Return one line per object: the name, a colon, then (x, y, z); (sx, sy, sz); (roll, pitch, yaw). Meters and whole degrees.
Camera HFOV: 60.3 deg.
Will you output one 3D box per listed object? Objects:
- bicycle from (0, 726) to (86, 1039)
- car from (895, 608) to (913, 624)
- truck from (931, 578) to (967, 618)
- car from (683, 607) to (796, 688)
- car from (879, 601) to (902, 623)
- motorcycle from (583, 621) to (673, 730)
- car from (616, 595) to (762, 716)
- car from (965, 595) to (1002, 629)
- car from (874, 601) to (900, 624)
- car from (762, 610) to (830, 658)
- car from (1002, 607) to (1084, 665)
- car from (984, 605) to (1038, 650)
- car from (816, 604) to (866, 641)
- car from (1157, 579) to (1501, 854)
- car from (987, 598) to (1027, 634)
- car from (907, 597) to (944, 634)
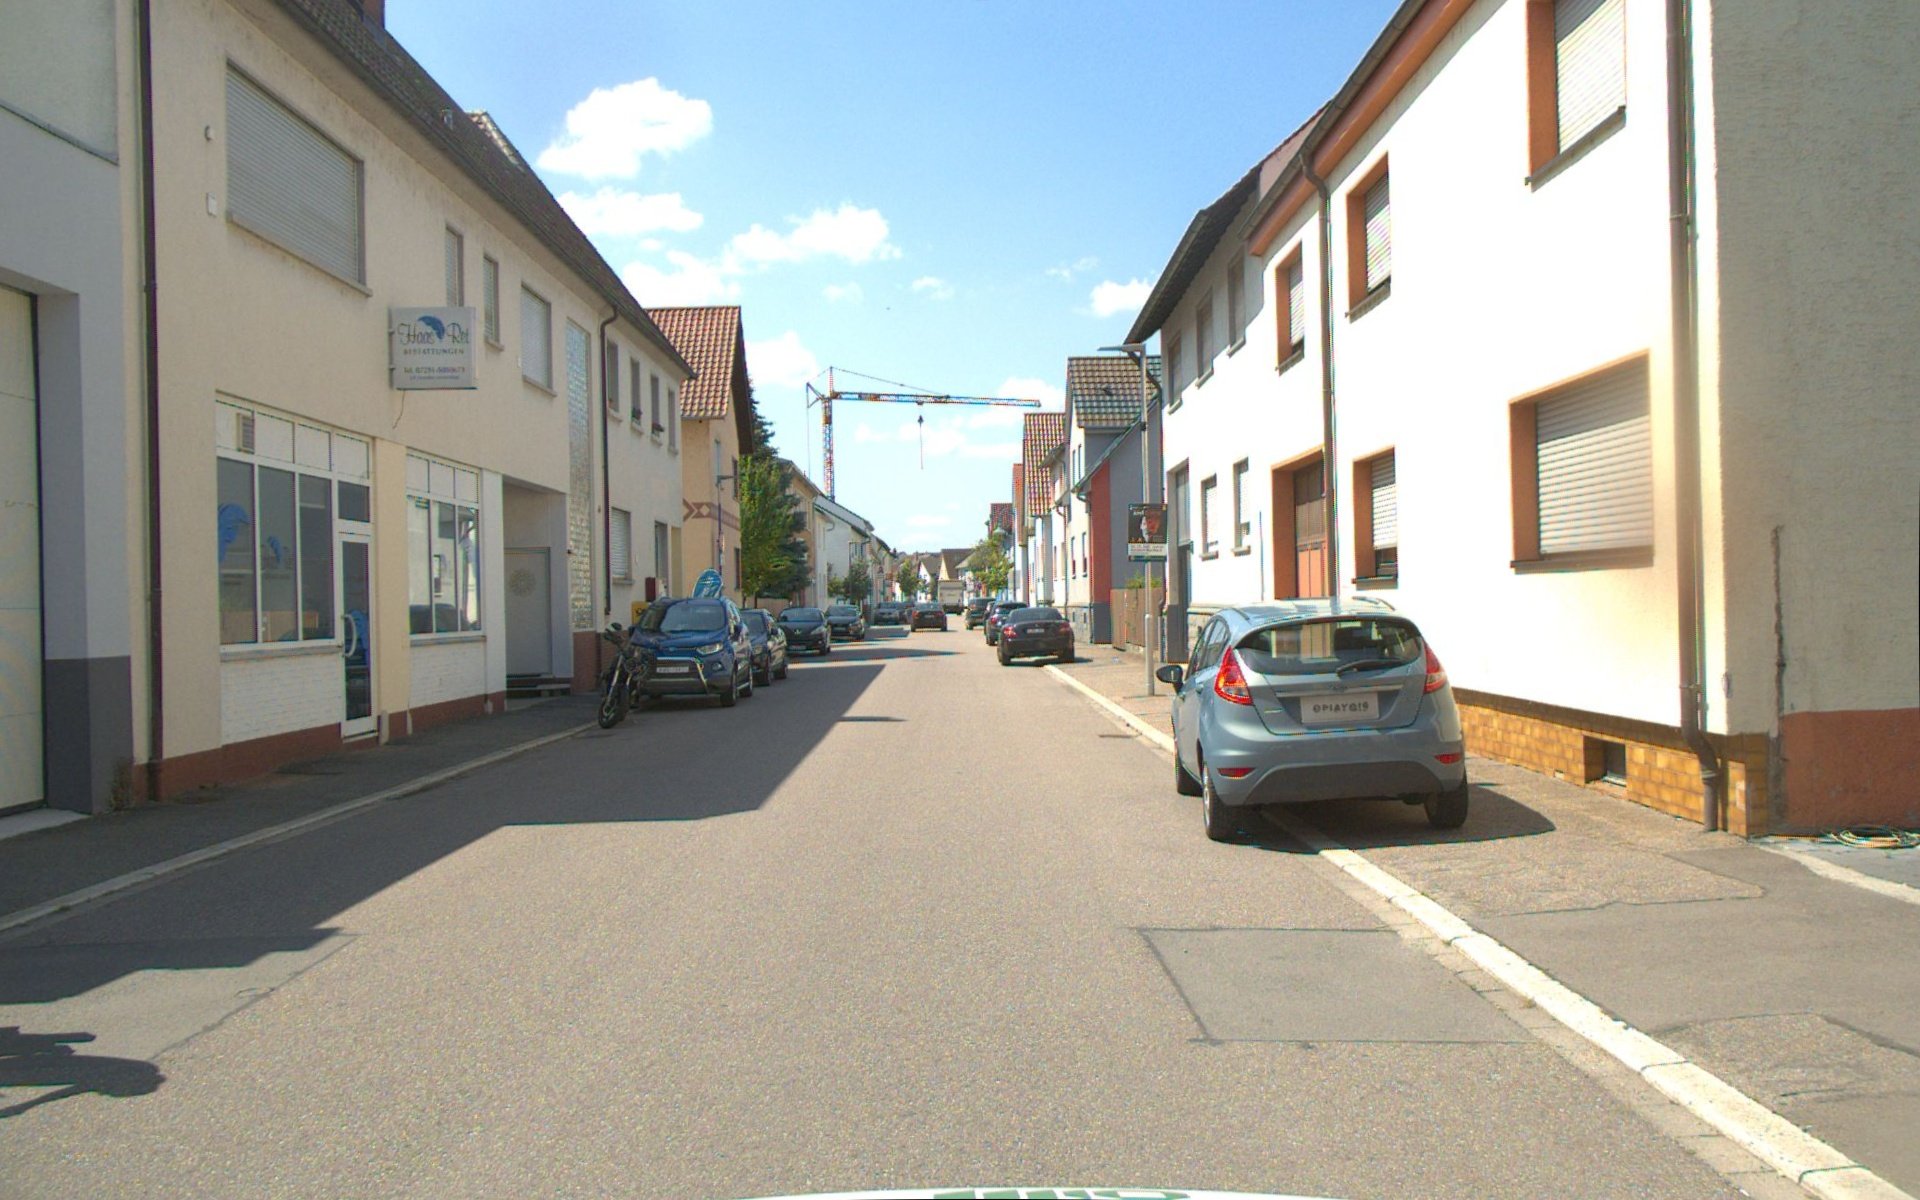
bicycle: (-3.790, 1.025, 5.437); (0.727, 1.066, 1.941); (-1, 0, 3)
car: (-5.626, 1.582, 167.136); (1.688, 1.583, 4.172); (0, 0, 0)
truck: (-1.229, -0.108, 176.326); (3.311, 3.933, 13.920); (-2, 0, -2)
car: (-4.289, 0.887, 32.786); (1.663, 1.436, 4.389); (-1, 0, 0)
car: (-5.348, 0.919, 127.852); (1.620, 1.637, 4.060); (-2, 0, -1)
motorcycle: (-4.370, 0.964, 21.922); (0.792, 1.335, 2.105); (-1, 0, -1)
car: (-4.207, 0.811, 26.228); (1.683, 1.668, 4.147); (-3, 0, -2)
car: (1.251, 0.655, 89.143); (1.694, 1.747, 4.273); (-1, 0, -3)
car: (-5.333, 0.899, 121.028); (1.723, 1.551, 4.288); (-2, 0, -1)
car: (-4.953, 1.004, 50.499); (1.725, 1.398, 4.065); (0, 0, -1)
car: (1.962, 0.839, 40.118); (1.778, 1.298, 4.146); (-1, 0, 0)
car: (1.718, 0.932, 56.770); (1.654, 1.447, 3.656); (-2, 0, -1)
car: (-5.110, 0.951, 71.533); (1.732, 1.485, 4.437); (-1, 0, 1)
car: (2.420, 0.693, 11.735); (1.686, 1.507, 3.751); (-5, 0, 3)
car: (2.169, 0.708, 77.119); (1.584, 1.521, 3.971); (-4, 0, -1)
car: (-1.766, 0.787, 84.549); (1.747, 1.784, 3.998); (-2, 0, -2)
